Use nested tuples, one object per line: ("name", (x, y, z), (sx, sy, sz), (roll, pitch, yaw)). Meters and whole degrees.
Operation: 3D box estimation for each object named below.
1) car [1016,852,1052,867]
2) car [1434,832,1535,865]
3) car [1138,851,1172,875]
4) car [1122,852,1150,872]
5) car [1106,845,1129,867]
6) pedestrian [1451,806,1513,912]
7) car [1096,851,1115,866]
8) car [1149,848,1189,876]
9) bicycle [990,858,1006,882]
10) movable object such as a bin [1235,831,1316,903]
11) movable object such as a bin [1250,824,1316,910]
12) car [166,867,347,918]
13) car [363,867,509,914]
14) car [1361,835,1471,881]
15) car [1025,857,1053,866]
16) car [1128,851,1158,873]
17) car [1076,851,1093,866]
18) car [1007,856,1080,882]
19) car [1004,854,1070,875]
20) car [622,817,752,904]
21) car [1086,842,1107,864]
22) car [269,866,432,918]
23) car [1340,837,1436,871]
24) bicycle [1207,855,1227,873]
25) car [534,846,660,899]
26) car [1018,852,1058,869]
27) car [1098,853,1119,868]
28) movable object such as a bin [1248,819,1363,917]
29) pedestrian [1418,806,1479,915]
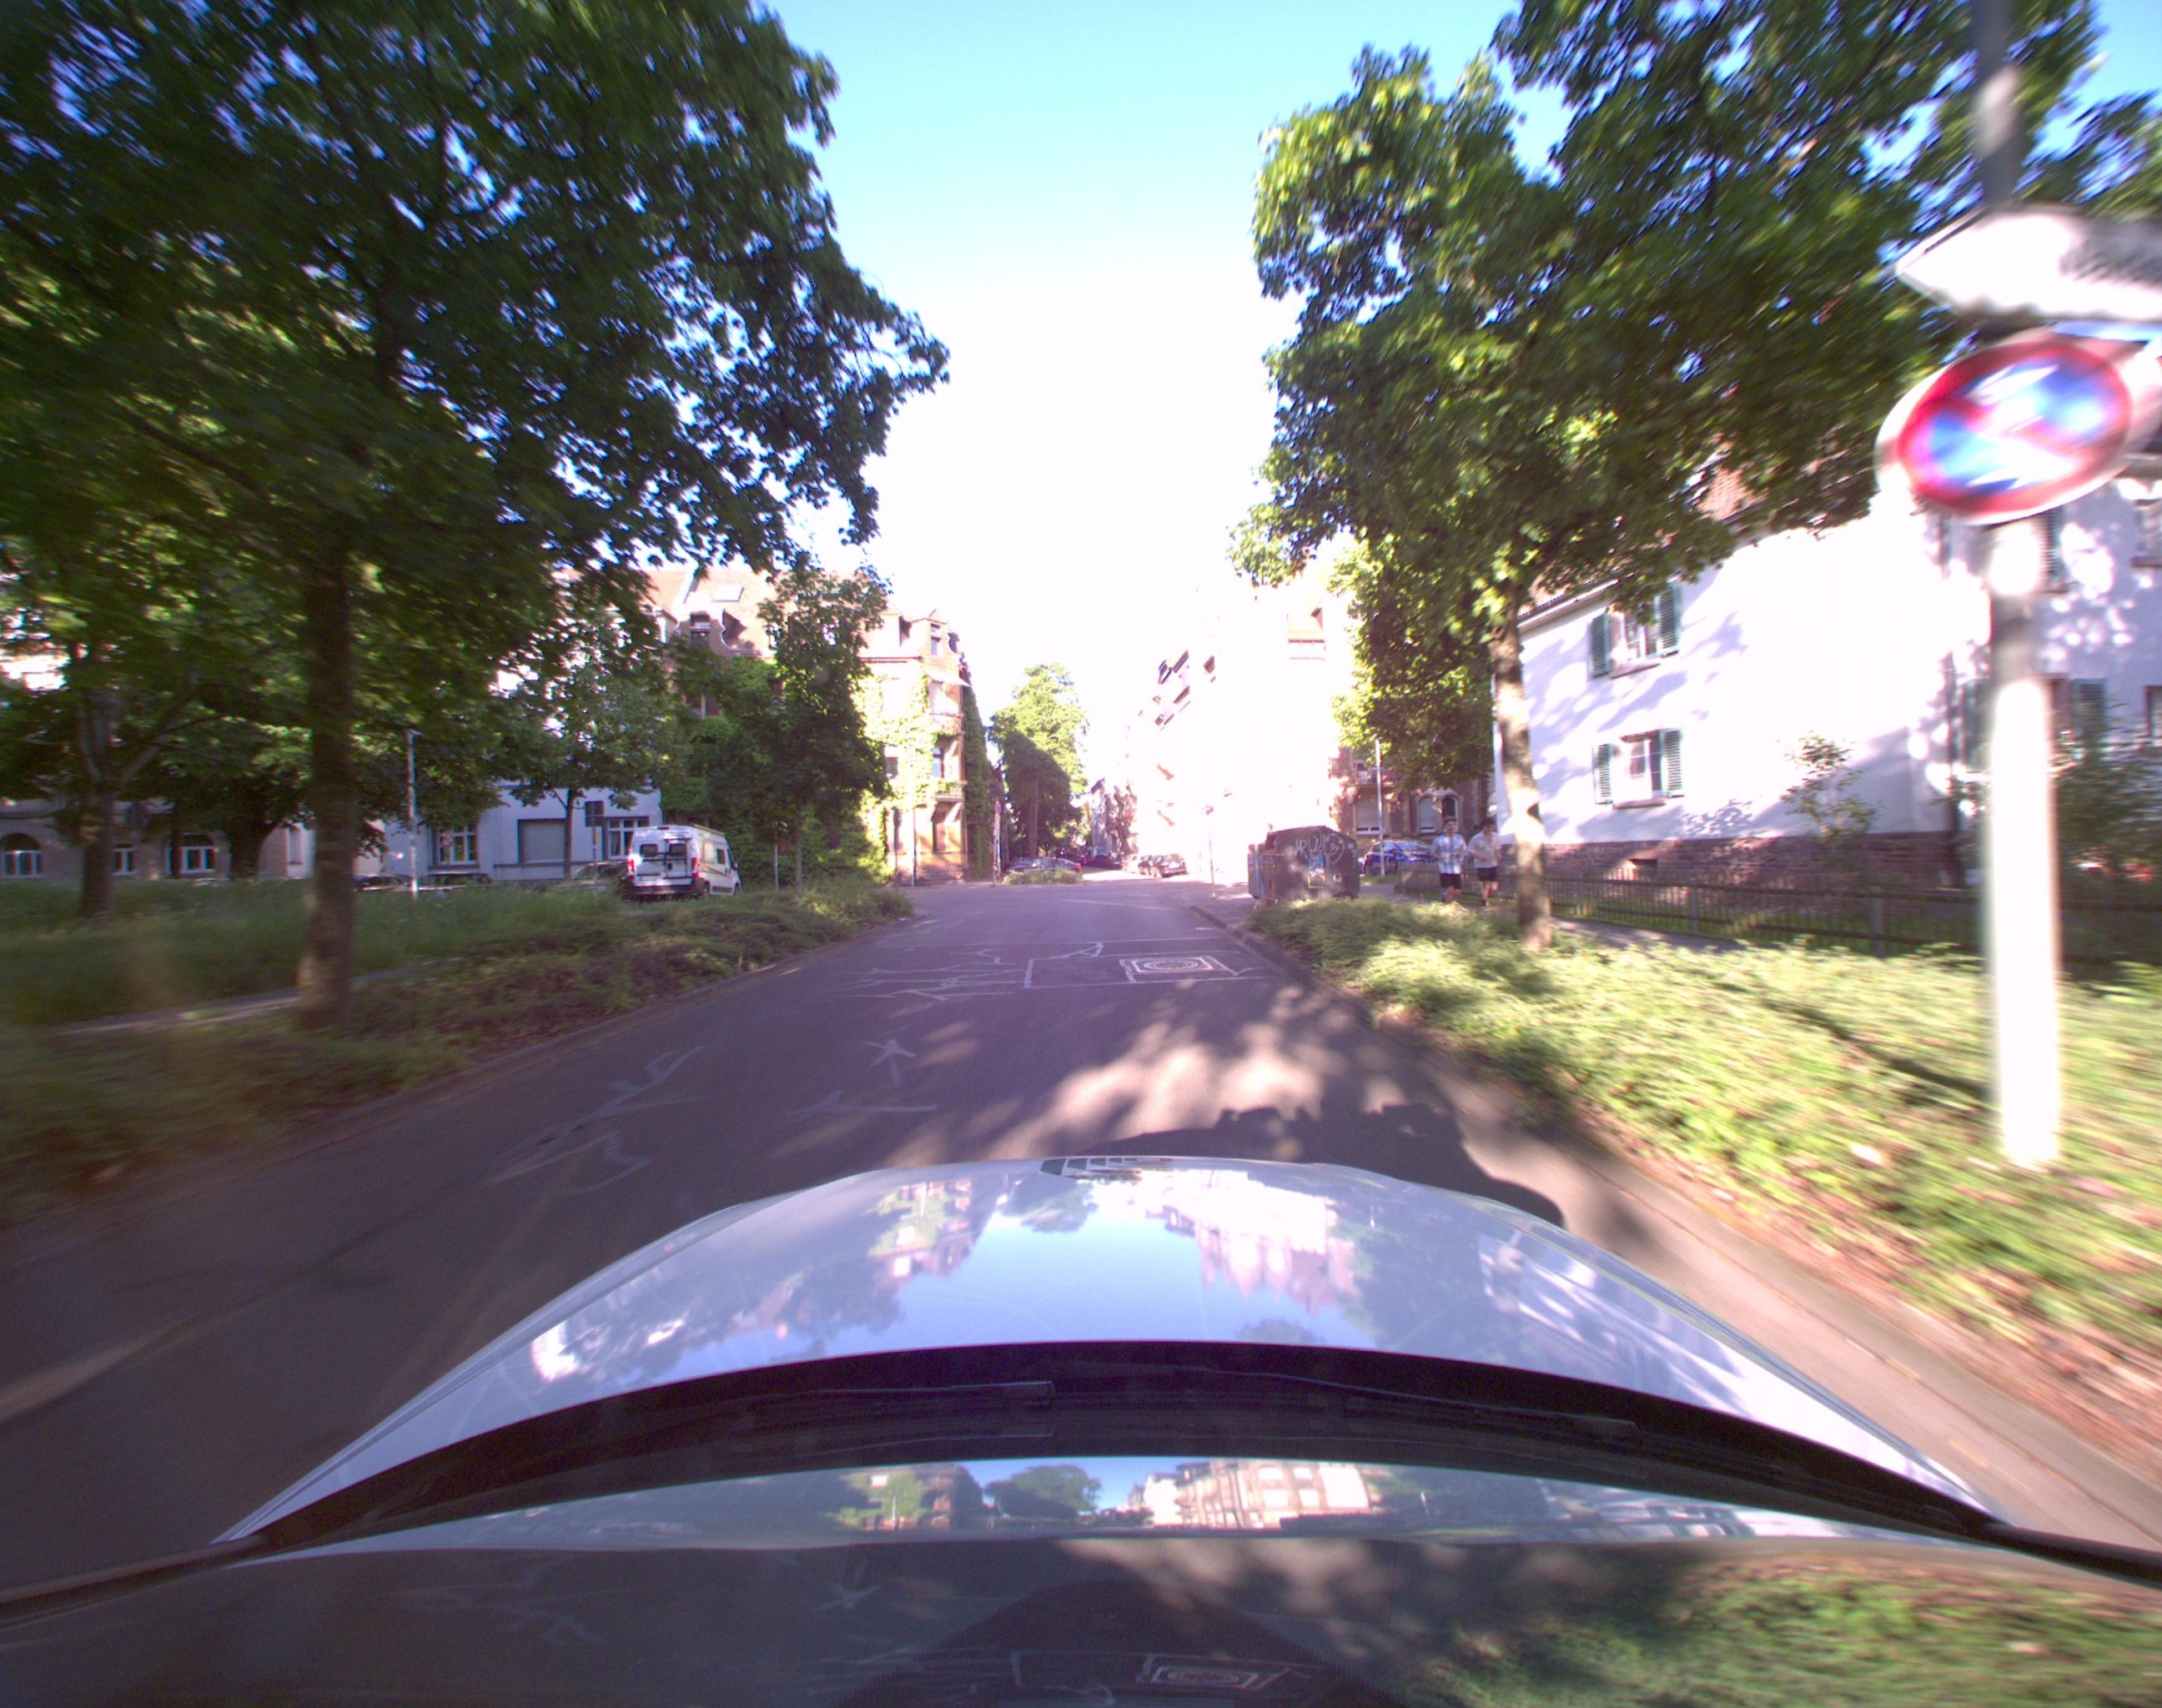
("car", (-5.209, 0.637, 89.920), (3.797, 1.575, 1.706), (-1, 0, -6))
("car", (20.522, -0.297, 41.464), (4.439, 1.498, 1.730), (-2, 1, -9))
("car", (5.039, 0.594, 56.087), (1.734, 1.581, 3.994), (-1, 0, -4))
("car", (4.412, 0.657, 66.024), (1.734, 1.581, 3.994), (-1, 0, -4))
("car", (3.475, 0.220, 78.429), (1.799, 2.004, 3.994), (-1, 0, -4))
("pedestrian", (7.424, 0.100, 15.125), (0.640, 1.894, 1.019), (-1, -1, 2))
("car", (2.779, 0.546, 93.887), (1.799, 1.679, 3.994), (-1, 0, -4))
("car", (5.332, 0.491, 49.802), (1.734, 1.581, 3.994), (-1, 0, -4))
("bicycle", (-4.480, 0.856, 43.826), (0.560, 1.268, 1.604), (-2, 0, 3))
("movable object such as a bin", (4.660, 0.304, 19.716), (1.580, 1.657, 1.640), (-1, 0, 1))
("movable object such as a bin", (4.461, 0.285, 18.107), (1.143, 1.827, 1.386), (-1, -1, 1))
("car", (-25.573, 1.142, 25.488), (1.970, 1.377, 3.871), (-1, 0, -7))
("car", (-20.745, 1.136, 26.432), (1.970, 1.342, 3.871), (-1, 0, -7))
("car", (12.213, 0.199, 30.026), (1.992, 1.556, 3.988), (-1, -2, -8))
("car", (-5.965, 1.073, 115.749), (3.797, 1.240, 1.706), (-1, 0, -6))
("car", (4.641, 0.629, 61.476), (1.734, 1.581, 3.994), (-1, 0, -4))
("car", (0.551, 0.643, 120.927), (2.162, 2.237, 4.784), (-1, 0, -4))
("car", (-2.266, 0.883, 48.166), (4.237, 1.435, 1.996), (-1, 0, -6))
("car", (-3.263, 0.787, 60.412), (4.828, 1.435, 1.706), (-1, 0, -6))
("car", (-13.114, 0.201, 27.572), (2.229, 2.614, 5.617), (-1, 0, -7))
("car", (1.963, -0.088, 103.872), (2.162, 2.690, 4.784), (-1, 0, -4))
("car", (-23.034, 1.135, 25.920), (1.970, 1.442, 3.871), (-1, 0, -7))
("car", (15.387, -0.002, 40.865), (4.243, 1.622, 1.730), (-1, 1, -9))
("bicycle", (7.765, 0.555, 46.432), (0.515, 0.998, 1.567), (-1, 0, -16))
("car", (-15.707, 0.560, 26.717), (1.970, 1.575, 4.289), (-1, 0, -7))
("car", (-4.208, 0.616, 80.239), (3.799, 1.575, 1.705), (-1, 0, -8))
("car", (2.871, 0.683, 86.774), (1.799, 1.514, 3.994), (-1, 0, -4))
("movable object such as a bin", (4.421, 0.272, 16.242), (1.914, 1.853, 1.394), (-1, -1, 1))
("pedestrian", (6.564, 0.113, 14.574), (0.670, 1.894, 0.895), (-1, -1, 1))
